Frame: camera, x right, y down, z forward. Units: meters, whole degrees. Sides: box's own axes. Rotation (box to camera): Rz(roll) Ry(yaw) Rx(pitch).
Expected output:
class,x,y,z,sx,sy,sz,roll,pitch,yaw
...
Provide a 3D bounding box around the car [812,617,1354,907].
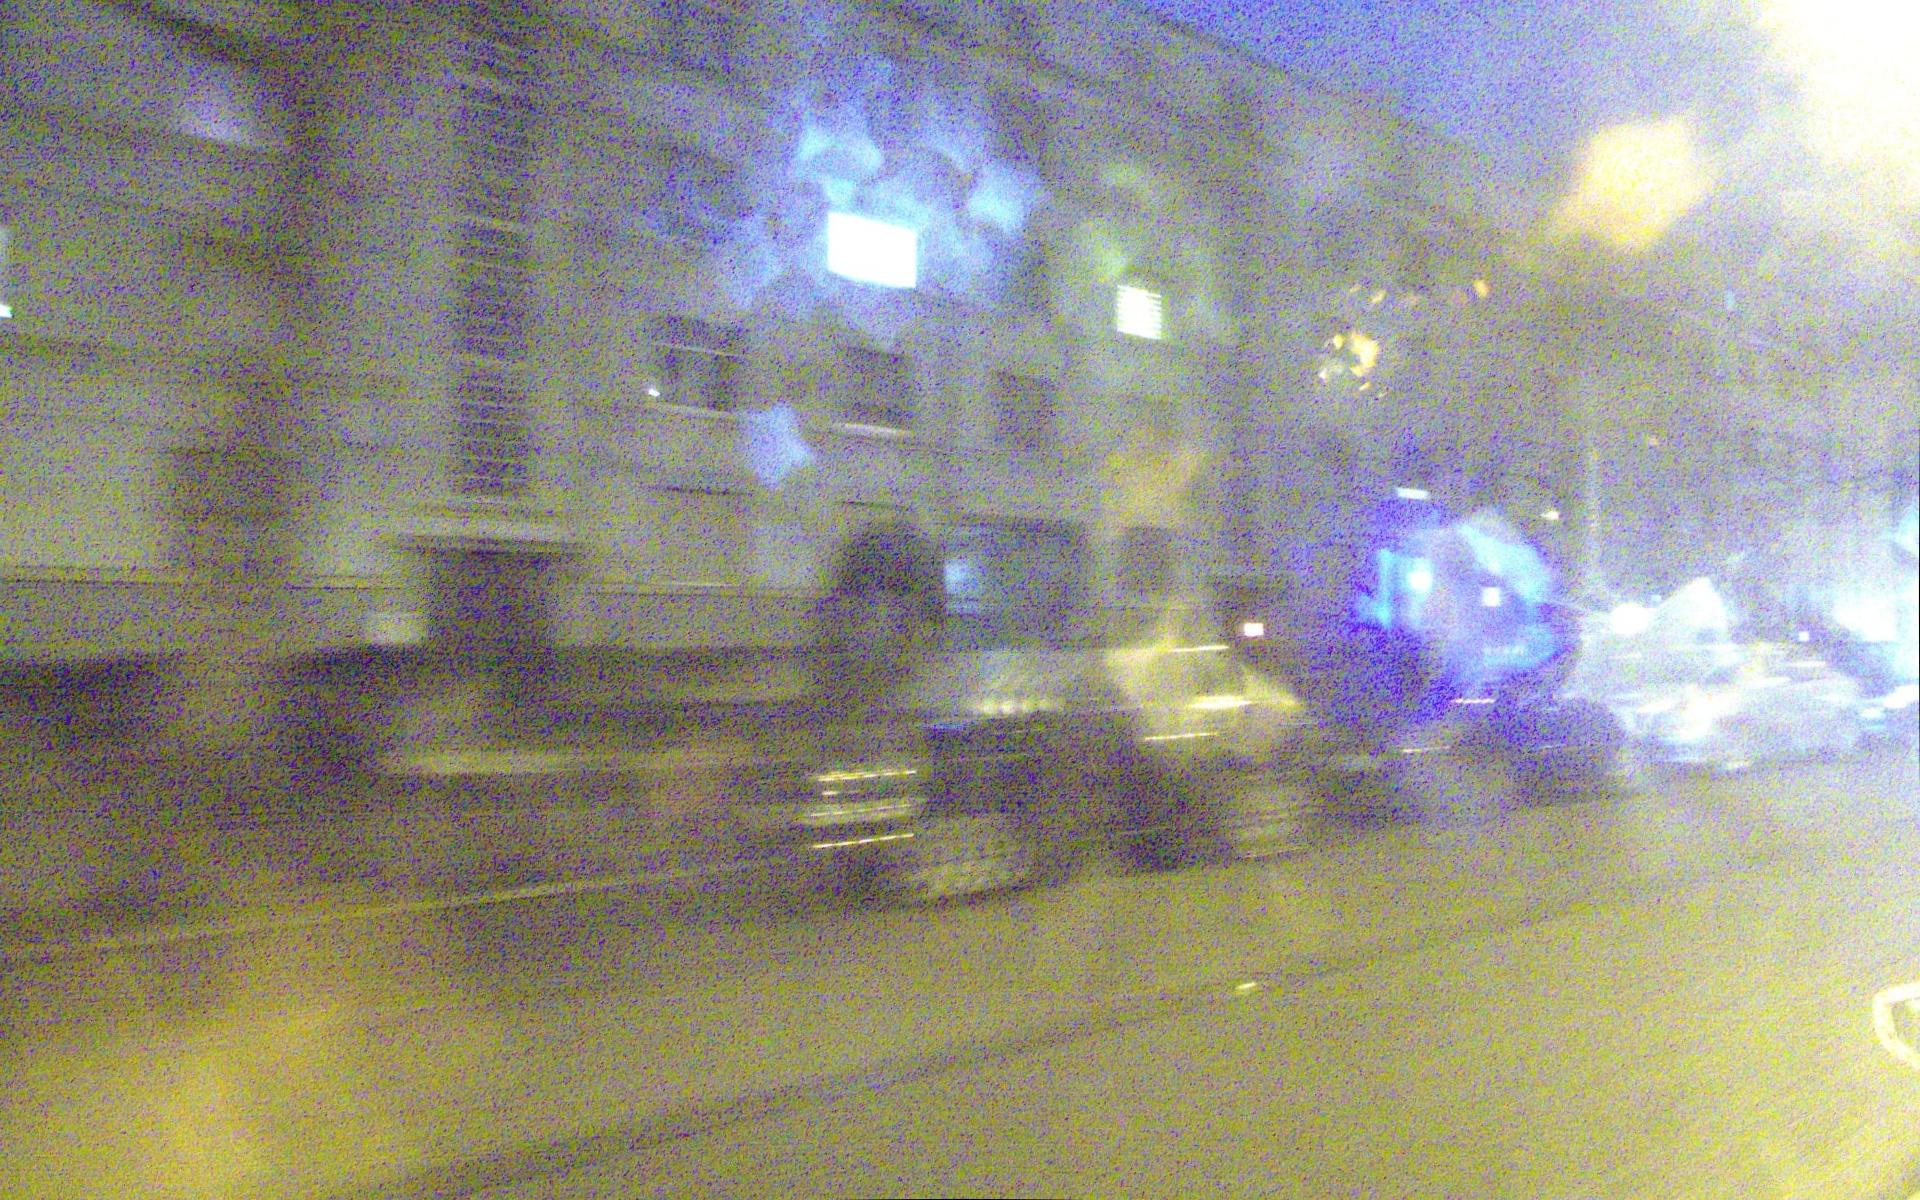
class,x,y,z,sx,sy,sz,roll,pitch,yaw
car,0.853,0.914,6.622,3.333,1.479,1.426,1,-5,-30

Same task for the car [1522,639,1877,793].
class,x,y,z,sx,sy,sz,roll,pitch,yaw
car,8.711,1.237,11.689,4.880,1.475,1.629,1,-5,-33

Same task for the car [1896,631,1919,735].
class,x,y,z,sx,sy,sz,roll,pitch,yaw
car,17.170,1.295,16.375,4.209,1.625,1.591,1,-5,-31

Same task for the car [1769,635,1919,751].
class,x,y,z,sx,sy,sz,roll,pitch,yaw
car,13.279,1.263,14.233,3.961,1.450,1.590,1,-5,-33

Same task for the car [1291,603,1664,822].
class,x,y,z,sx,sy,sz,roll,pitch,yaw
car,4.733,0.939,9.101,3.337,1.640,1.466,1,-5,-33
